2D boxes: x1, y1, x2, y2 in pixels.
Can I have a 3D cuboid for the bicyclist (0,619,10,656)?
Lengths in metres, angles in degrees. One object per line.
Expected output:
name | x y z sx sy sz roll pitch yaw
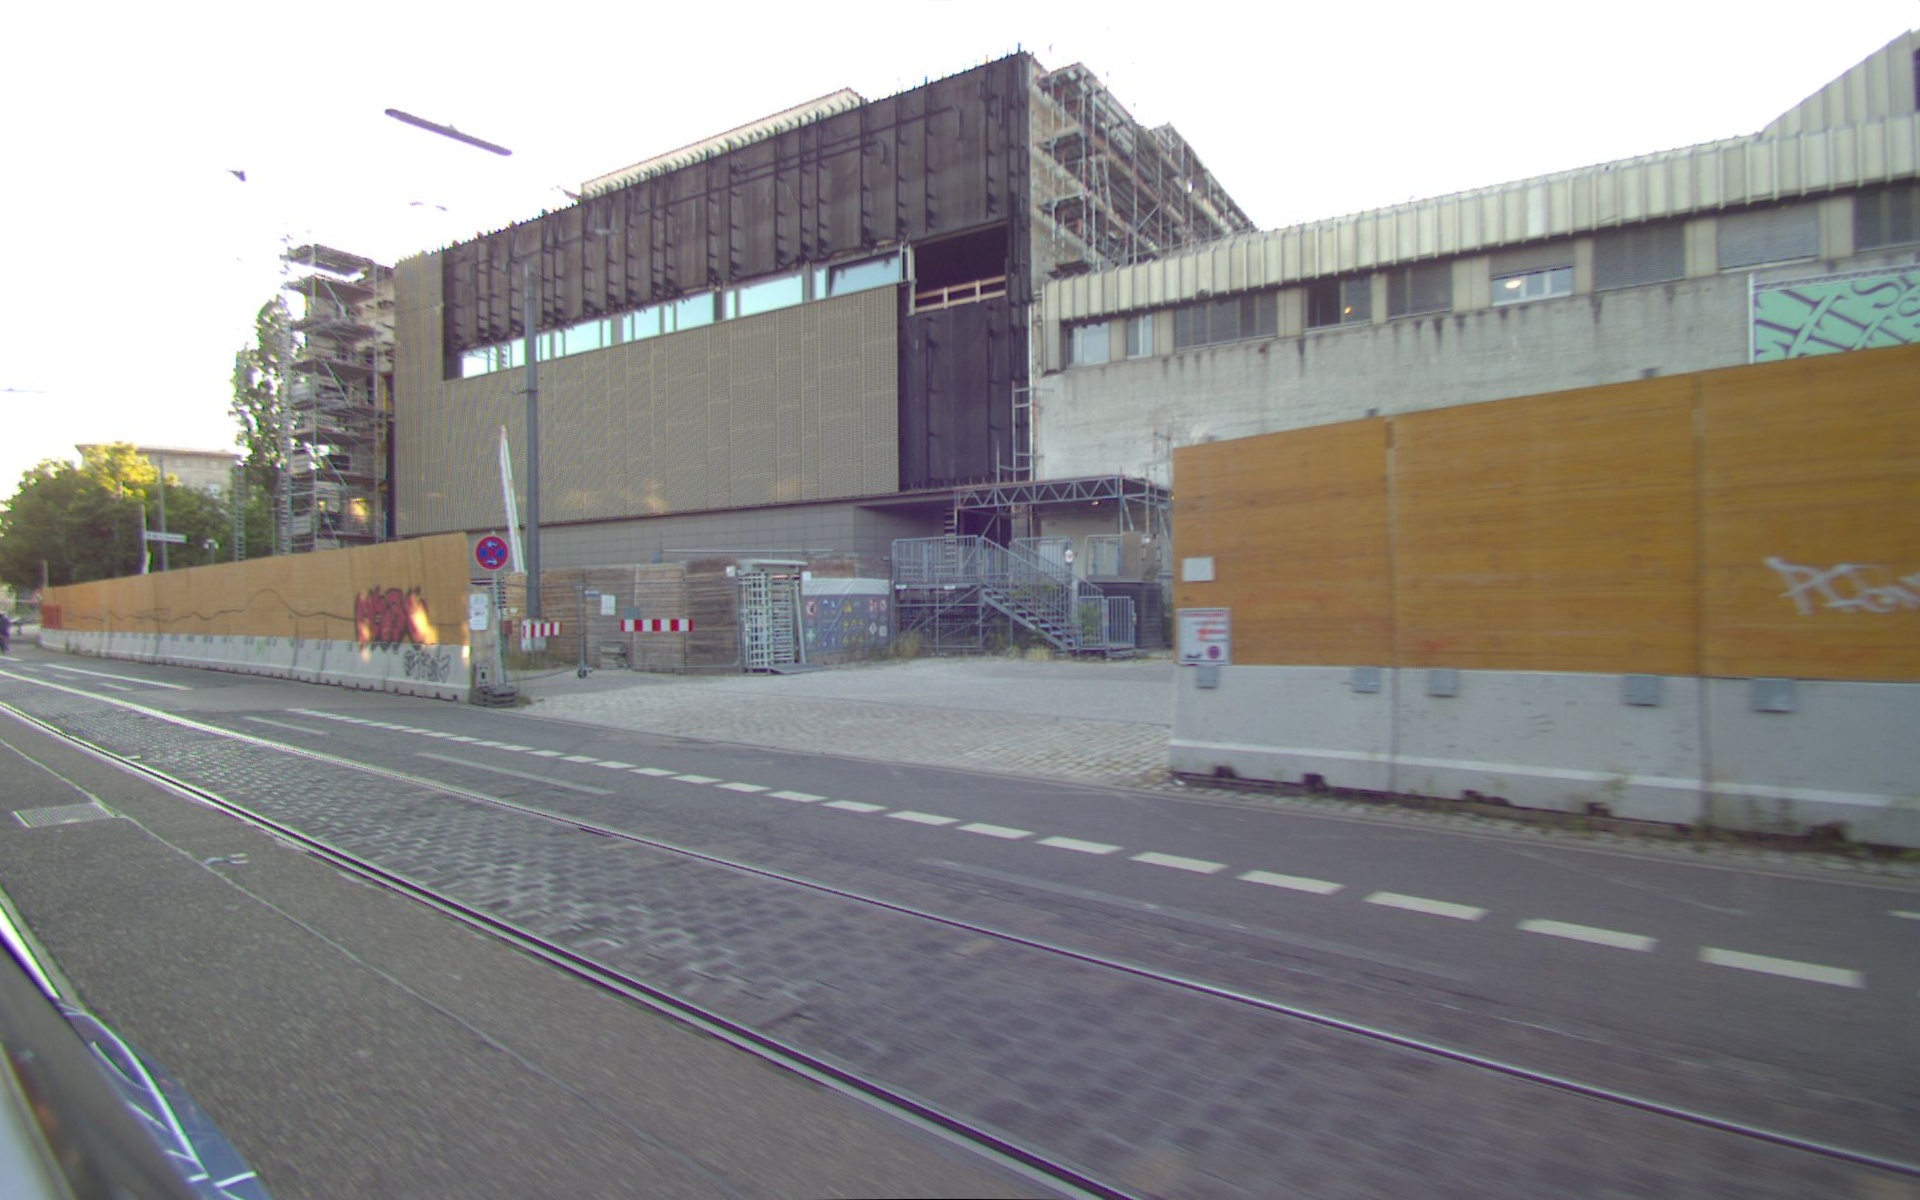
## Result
bicyclist | -43.693 1.700 45.889 1.017 1.678 0.760 -2 -1 41

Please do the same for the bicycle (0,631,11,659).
bicycle | -43.721 2.032 45.923 1.935 1.237 0.760 -2 -1 41

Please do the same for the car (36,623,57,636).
car | -128.194 4.099 142.066 1.968 1.696 4.007 -1 0 -39
